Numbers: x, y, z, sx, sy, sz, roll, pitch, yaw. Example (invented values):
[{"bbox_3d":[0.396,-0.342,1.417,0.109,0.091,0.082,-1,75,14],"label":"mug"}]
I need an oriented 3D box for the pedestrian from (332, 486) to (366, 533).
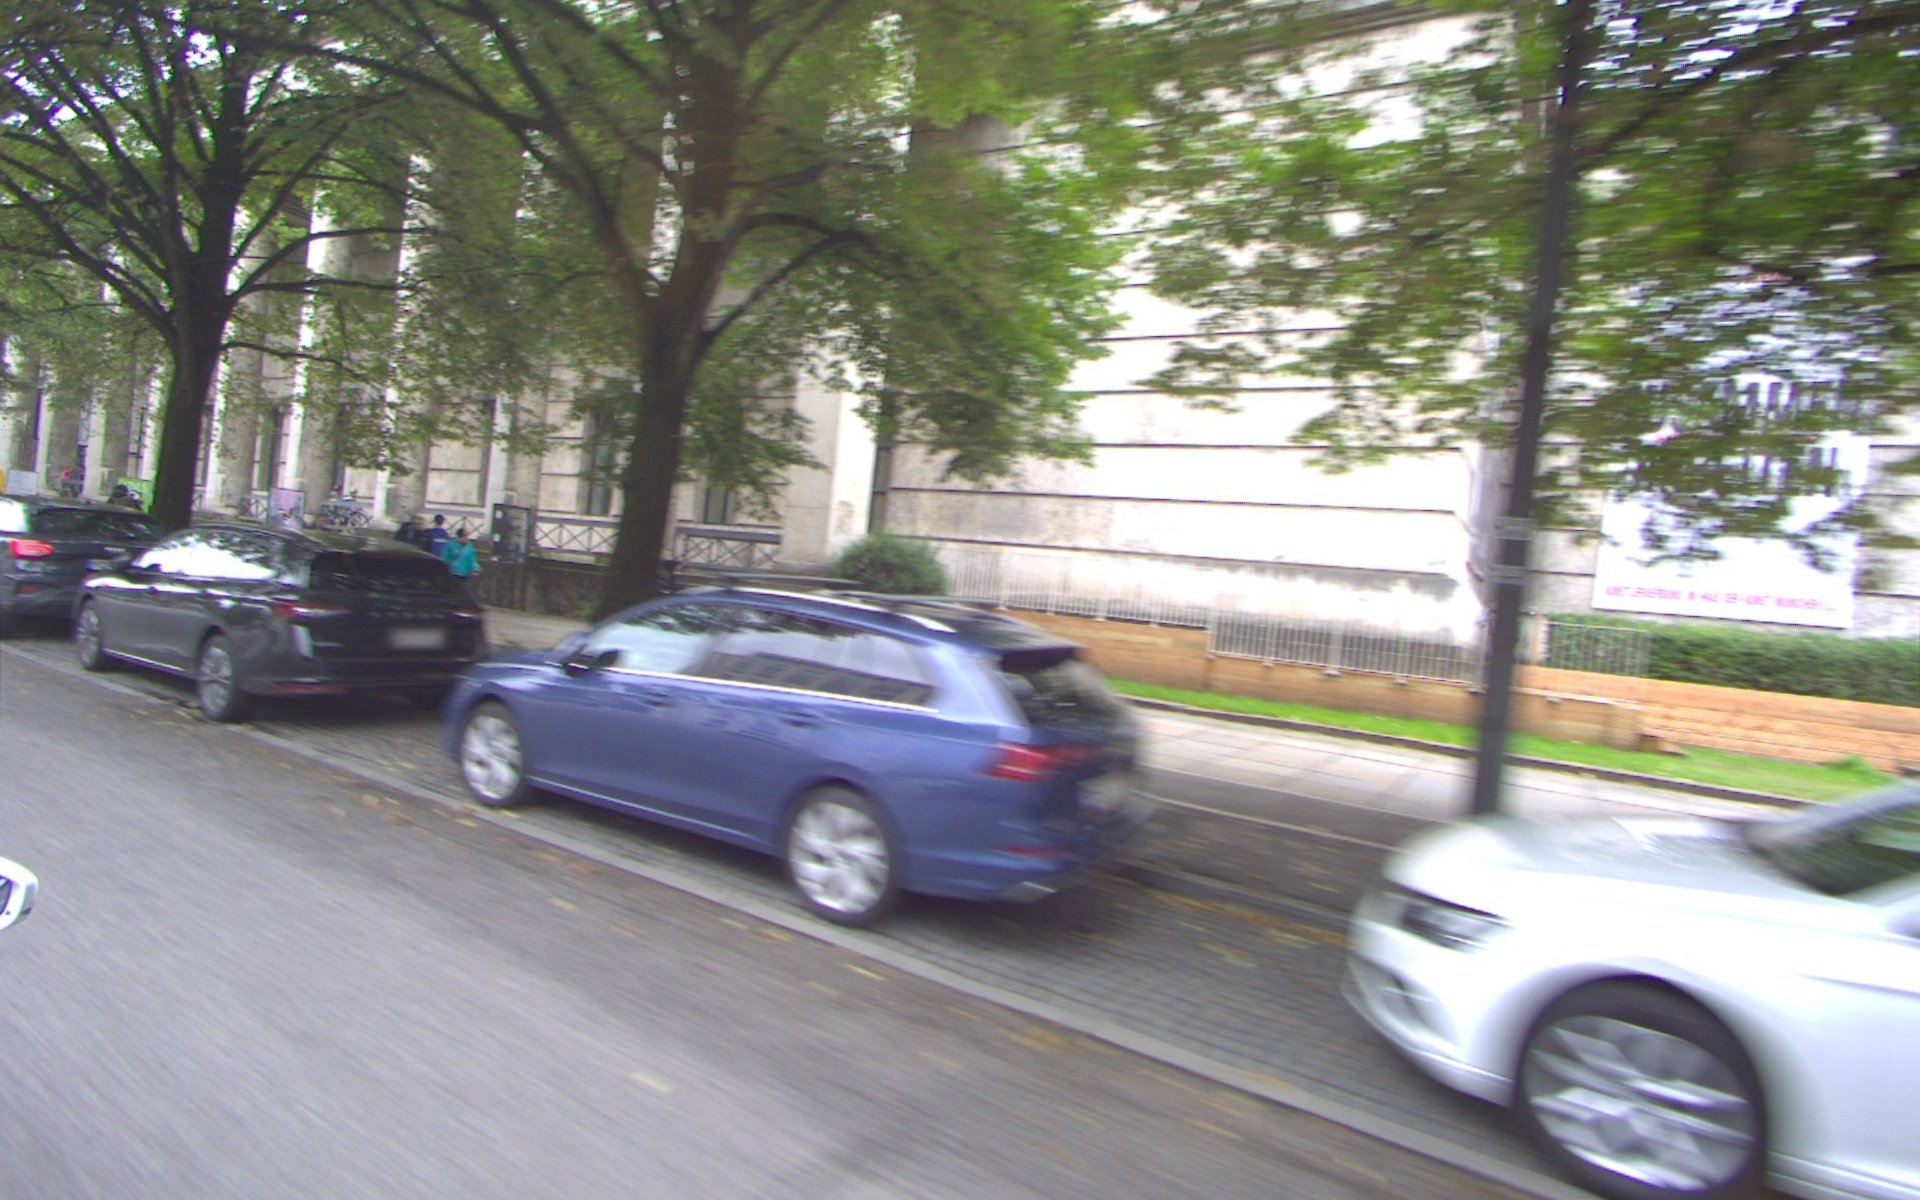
[{"bbox_3d":[-19.476,-2.888,32.054,0.635,1.390,0.567,7,0,32],"label":"pedestrian"}]

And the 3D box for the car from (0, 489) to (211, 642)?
[{"bbox_3d":[-10.740,-0.494,11.764,3.962,1.483,1.824,6,1,32],"label":"car"}]

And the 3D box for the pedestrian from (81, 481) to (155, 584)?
[{"bbox_3d":[-17.038,-1.363,20.361,0.758,1.933,0.780,7,0,32],"label":"pedestrian"}]

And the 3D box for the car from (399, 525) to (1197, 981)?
[{"bbox_3d":[-1.148,0.567,5.903,4.510,1.569,1.725,6,1,32],"label":"car"}]

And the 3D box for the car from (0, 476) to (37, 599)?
[{"bbox_3d":[-15.469,-1.107,14.715,4.514,1.686,1.725,6,1,32],"label":"car"}]

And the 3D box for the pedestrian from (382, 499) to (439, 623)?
[{"bbox_3d":[-8.955,-0.638,16.388,0.526,1.933,0.645,7,0,-39],"label":"pedestrian"}]

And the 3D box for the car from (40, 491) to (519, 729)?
[{"bbox_3d":[-6.171,-0.016,8.931,4.697,1.483,1.725,6,1,32],"label":"car"}]

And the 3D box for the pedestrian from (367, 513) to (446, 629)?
[{"bbox_3d":[-9.834,-0.508,17.888,0.758,1.933,0.780,7,0,32],"label":"pedestrian"}]

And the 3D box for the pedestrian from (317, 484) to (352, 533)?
[{"bbox_3d":[-19.510,-2.853,31.373,0.635,1.390,0.567,7,0,32],"label":"pedestrian"}]

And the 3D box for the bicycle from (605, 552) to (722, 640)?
[{"bbox_3d":[-5.692,-0.087,19.265,2.261,1.433,0.700,6,1,32],"label":"bicycle"}]

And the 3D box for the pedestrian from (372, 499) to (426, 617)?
[{"bbox_3d":[-9.649,-0.719,17.296,0.526,1.933,0.645,7,0,-39],"label":"pedestrian"}]

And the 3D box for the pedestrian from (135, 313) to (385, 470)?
[{"bbox_3d":[-12.120,-3.505,17.383,3.934,2.037,1.997,7,-1,32],"label":"pedestrian"}]

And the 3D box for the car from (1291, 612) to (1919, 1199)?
[{"bbox_3d":[3.648,1.091,2.942,4.673,1.569,1.829,6,1,32],"label":"car"}]
